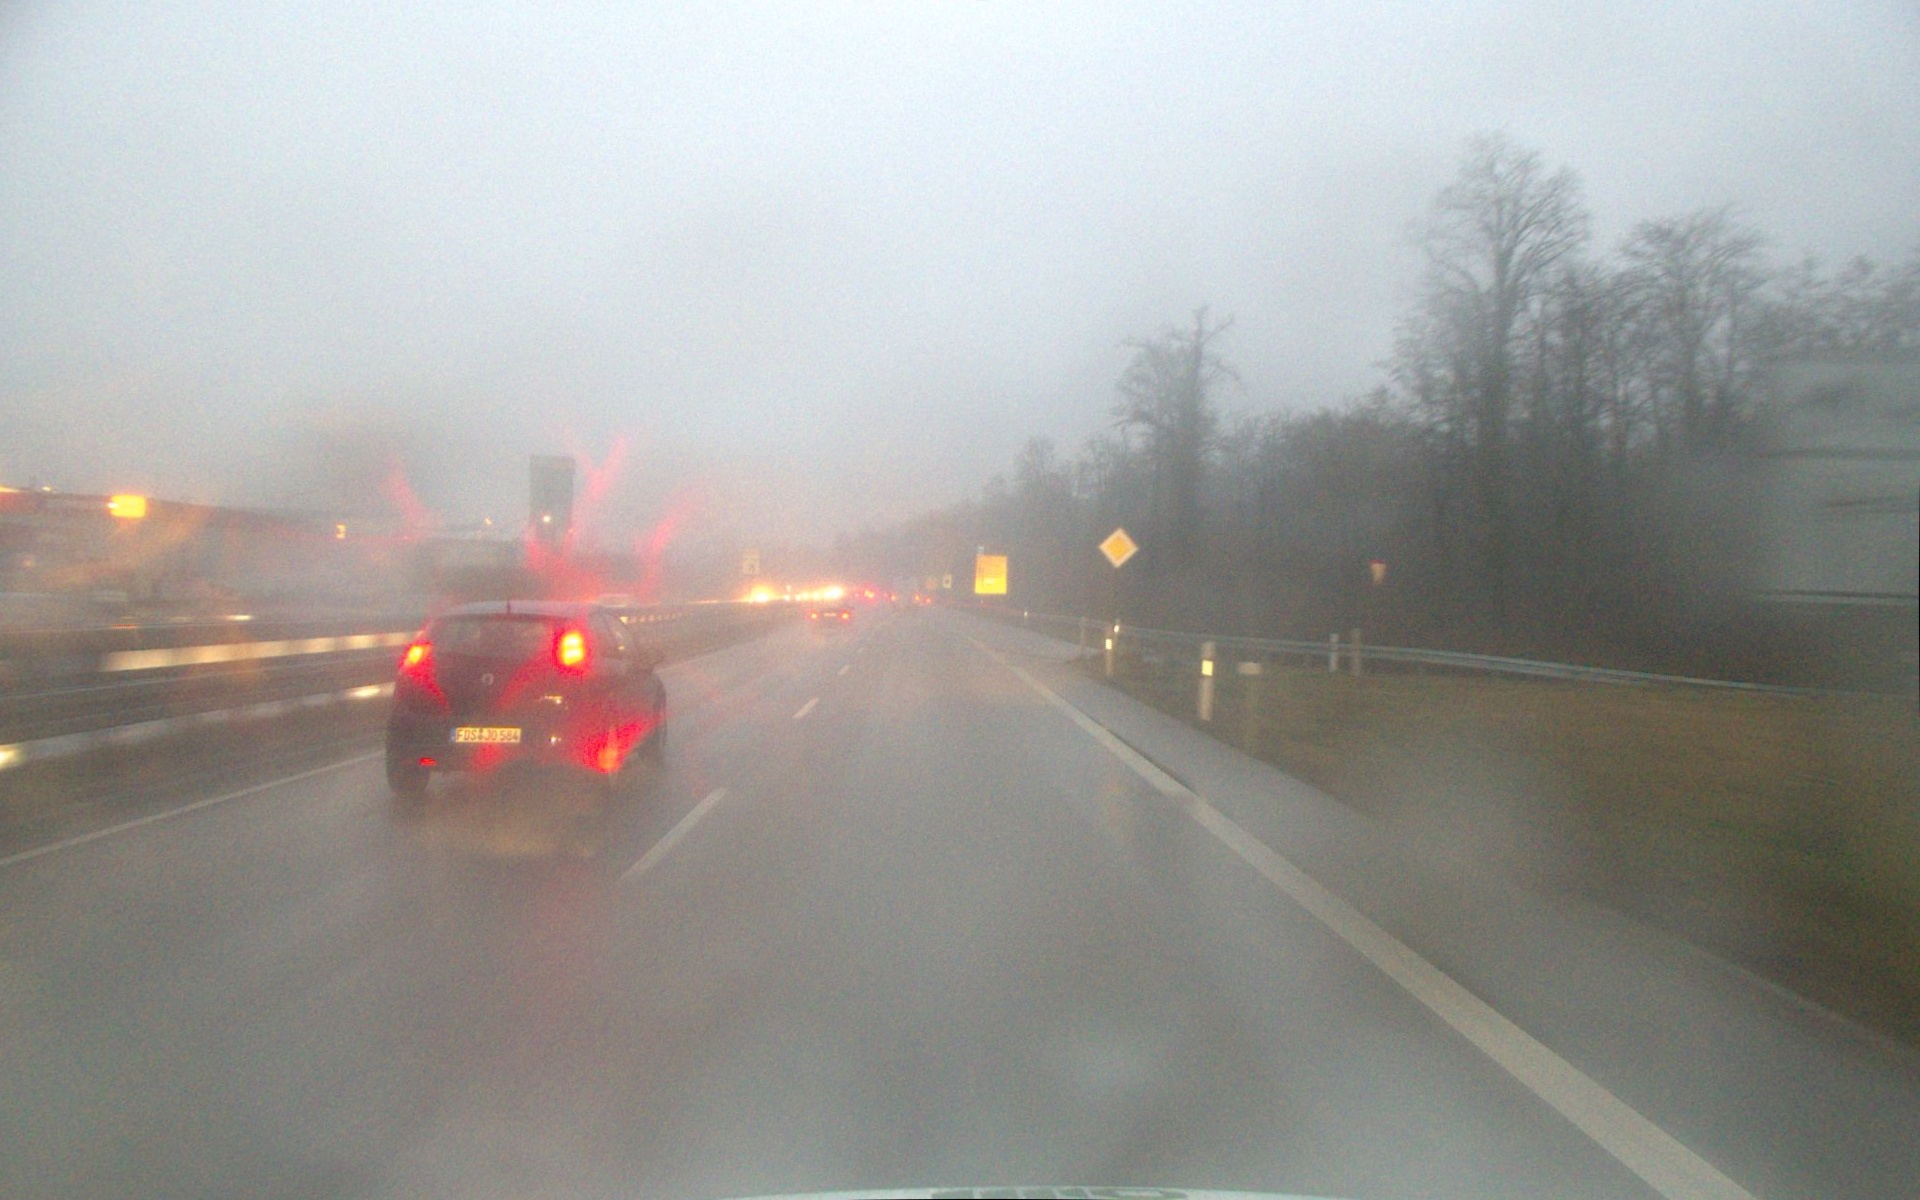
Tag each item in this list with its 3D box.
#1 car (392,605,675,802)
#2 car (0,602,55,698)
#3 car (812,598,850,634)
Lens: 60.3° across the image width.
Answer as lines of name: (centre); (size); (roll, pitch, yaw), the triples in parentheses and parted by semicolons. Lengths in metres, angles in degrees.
car: (-3.517, 0.779, 14.316); (1.593, 1.416, 3.997); (2, 0, -4)
car: (-12.793, 0.620, 20.230); (1.429, 1.208, 3.797); (1, 0, -2)
car: (-5.140, 0.627, 66.210); (1.387, 1.340, 3.081); (2, 0, -3)
